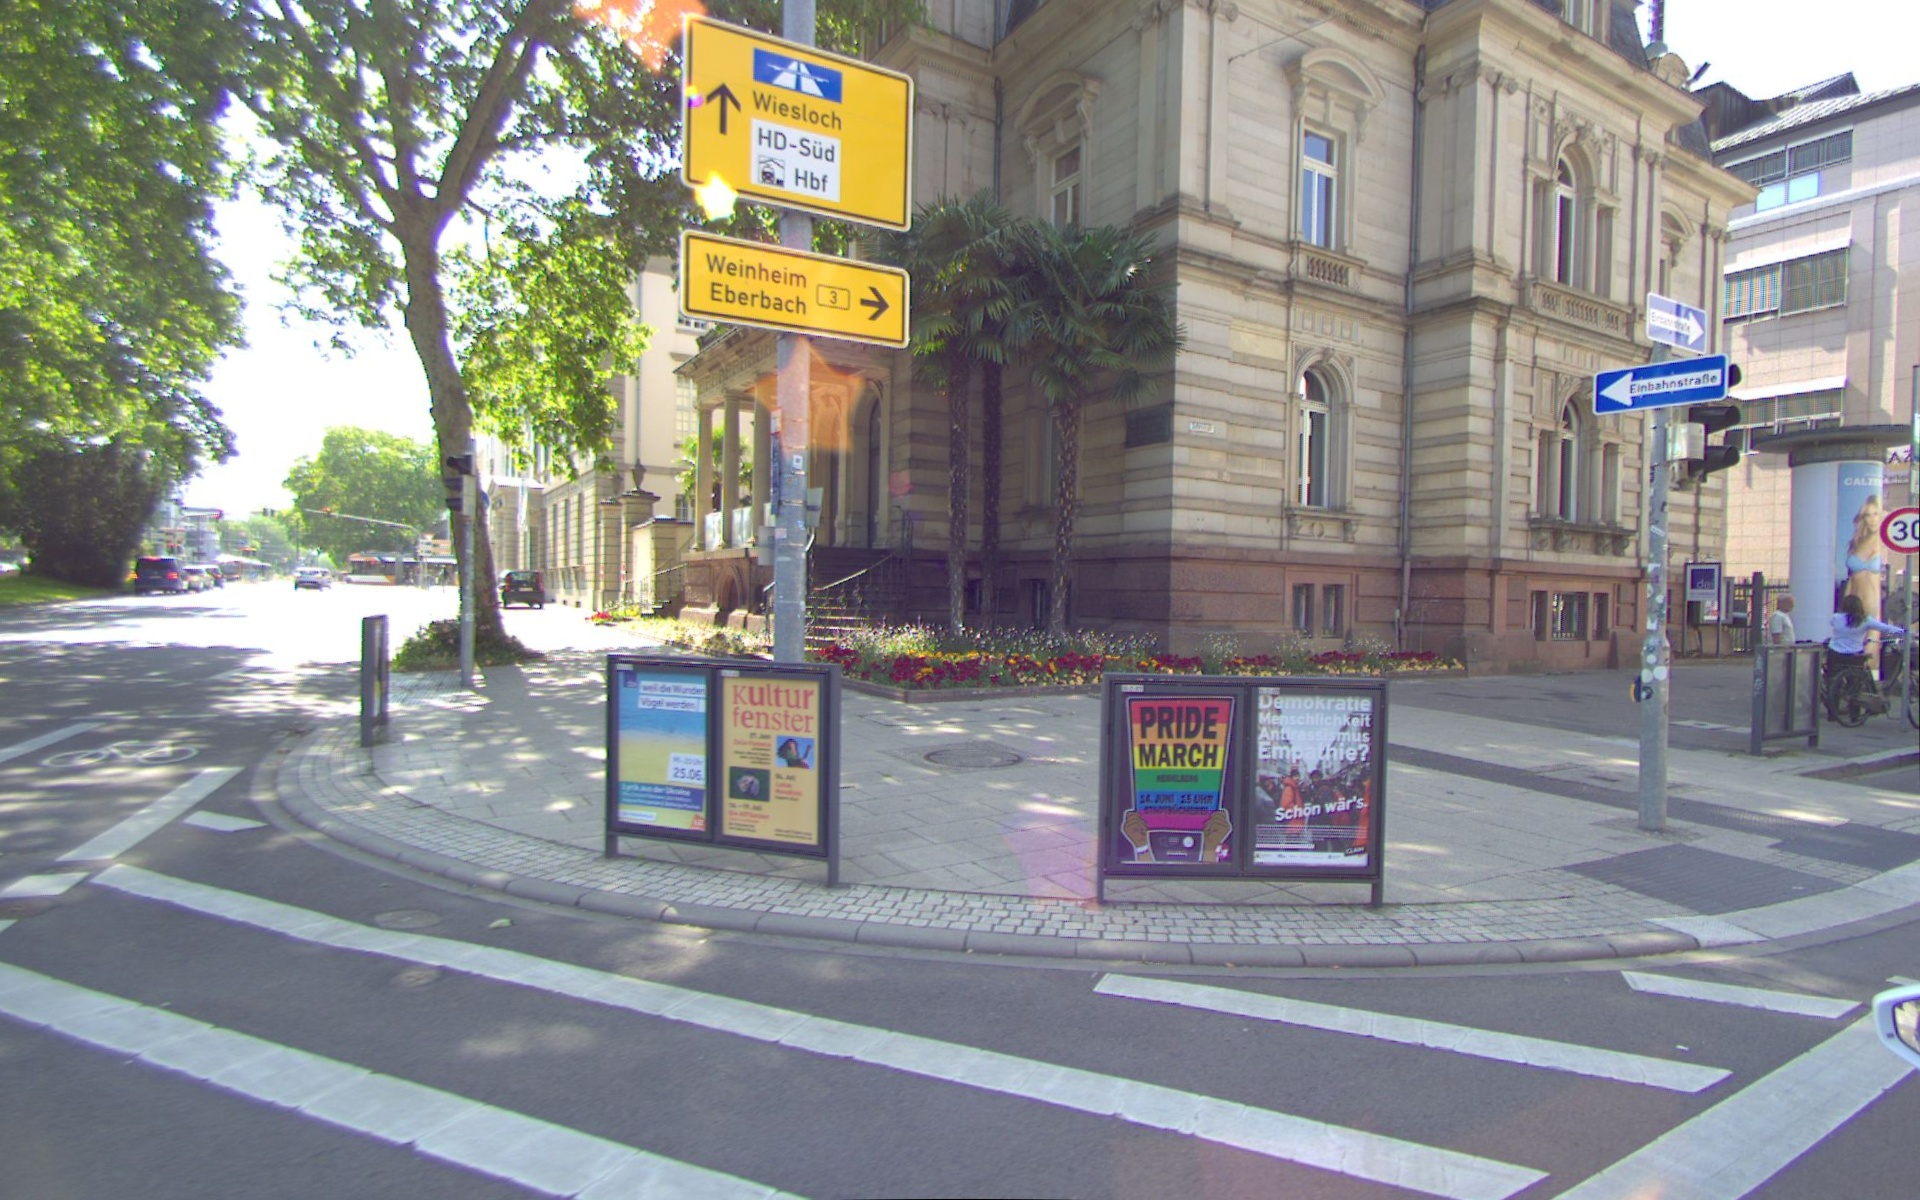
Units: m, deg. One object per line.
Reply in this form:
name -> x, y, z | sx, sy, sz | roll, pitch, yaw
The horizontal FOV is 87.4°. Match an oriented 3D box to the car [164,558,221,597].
car -> -43.303, -1.291, 56.743 | 1.911, 2.108, 4.028 | 0, 1, -28

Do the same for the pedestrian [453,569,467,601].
pedestrian -> -32.483, -0.973, 65.305 | 0.687, 2.040, 0.831 | 2, 0, -22

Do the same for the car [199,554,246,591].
car -> -49.086, -1.812, 66.928 | 1.911, 2.365, 4.028 | 0, 2, -28

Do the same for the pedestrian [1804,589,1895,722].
pedestrian -> 11.844, 0.725, 13.379 | 0.682, 1.717, 0.691 | 2, 0, -29

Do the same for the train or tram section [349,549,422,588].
train or tram section -> -58.439, -3.207, 102.264 | 6.241, 3.733, 2.153 | 1, 1, 4

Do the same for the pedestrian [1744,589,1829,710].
pedestrian -> 11.876, 0.701, 14.441 | 0.923, 1.687, 0.548 | 2, 0, -23

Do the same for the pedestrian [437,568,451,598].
pedestrian -> -31.707, -1.027, 61.685 | 0.688, 1.811, 0.828 | 1, 1, -30

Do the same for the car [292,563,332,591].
car -> -42.248, -1.503, 65.559 | 1.828, 1.758, 4.028 | 0, 2, -28

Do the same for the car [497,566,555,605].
car -> -17.662, -0.622, 40.785 | 1.911, 1.515, 4.028 | 0, 2, -28

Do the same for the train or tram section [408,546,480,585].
train or tram section -> -52.462, -3.475, 102.100 | 6.159, 3.733, 2.152 | 1, 1, 1

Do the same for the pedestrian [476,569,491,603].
pedestrian -> -29.108, -0.859, 61.351 | 0.687, 2.040, 0.831 | 2, 0, -22

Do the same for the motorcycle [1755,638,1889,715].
motorcycle -> 12.074, 1.063, 14.051 | 2.129, 1.011, 0.453 | 2, 2, -22

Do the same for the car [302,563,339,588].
car -> -45.808, -1.781, 72.021 | 1.911, 1.722, 4.028 | 0, 1, -28

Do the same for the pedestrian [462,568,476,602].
pedestrian -> -29.731, -0.918, 60.826 | 0.687, 2.040, 0.831 | 2, 0, -22

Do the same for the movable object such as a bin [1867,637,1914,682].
movable object such as a bin -> 19.489, 1.249, 21.042 | 0.507, 0.887, 0.649 | 3, -1, -39

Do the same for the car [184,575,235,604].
car -> -46.442, -0.683, 62.244 | 1.911, 1.722, 4.028 | 0, 1, -28

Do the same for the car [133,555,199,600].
car -> -40.976, -1.159, 51.913 | 1.911, 2.197, 4.028 | 0, 2, -28

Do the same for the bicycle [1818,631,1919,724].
bicycle -> 12.260, 1.032, 13.202 | 2.210, 1.135, 0.428 | 3, 1, -21

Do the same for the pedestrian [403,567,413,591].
pedestrian -> -42.393, -1.641, 77.148 | 0.688, 1.811, 0.828 | 1, 1, -30
